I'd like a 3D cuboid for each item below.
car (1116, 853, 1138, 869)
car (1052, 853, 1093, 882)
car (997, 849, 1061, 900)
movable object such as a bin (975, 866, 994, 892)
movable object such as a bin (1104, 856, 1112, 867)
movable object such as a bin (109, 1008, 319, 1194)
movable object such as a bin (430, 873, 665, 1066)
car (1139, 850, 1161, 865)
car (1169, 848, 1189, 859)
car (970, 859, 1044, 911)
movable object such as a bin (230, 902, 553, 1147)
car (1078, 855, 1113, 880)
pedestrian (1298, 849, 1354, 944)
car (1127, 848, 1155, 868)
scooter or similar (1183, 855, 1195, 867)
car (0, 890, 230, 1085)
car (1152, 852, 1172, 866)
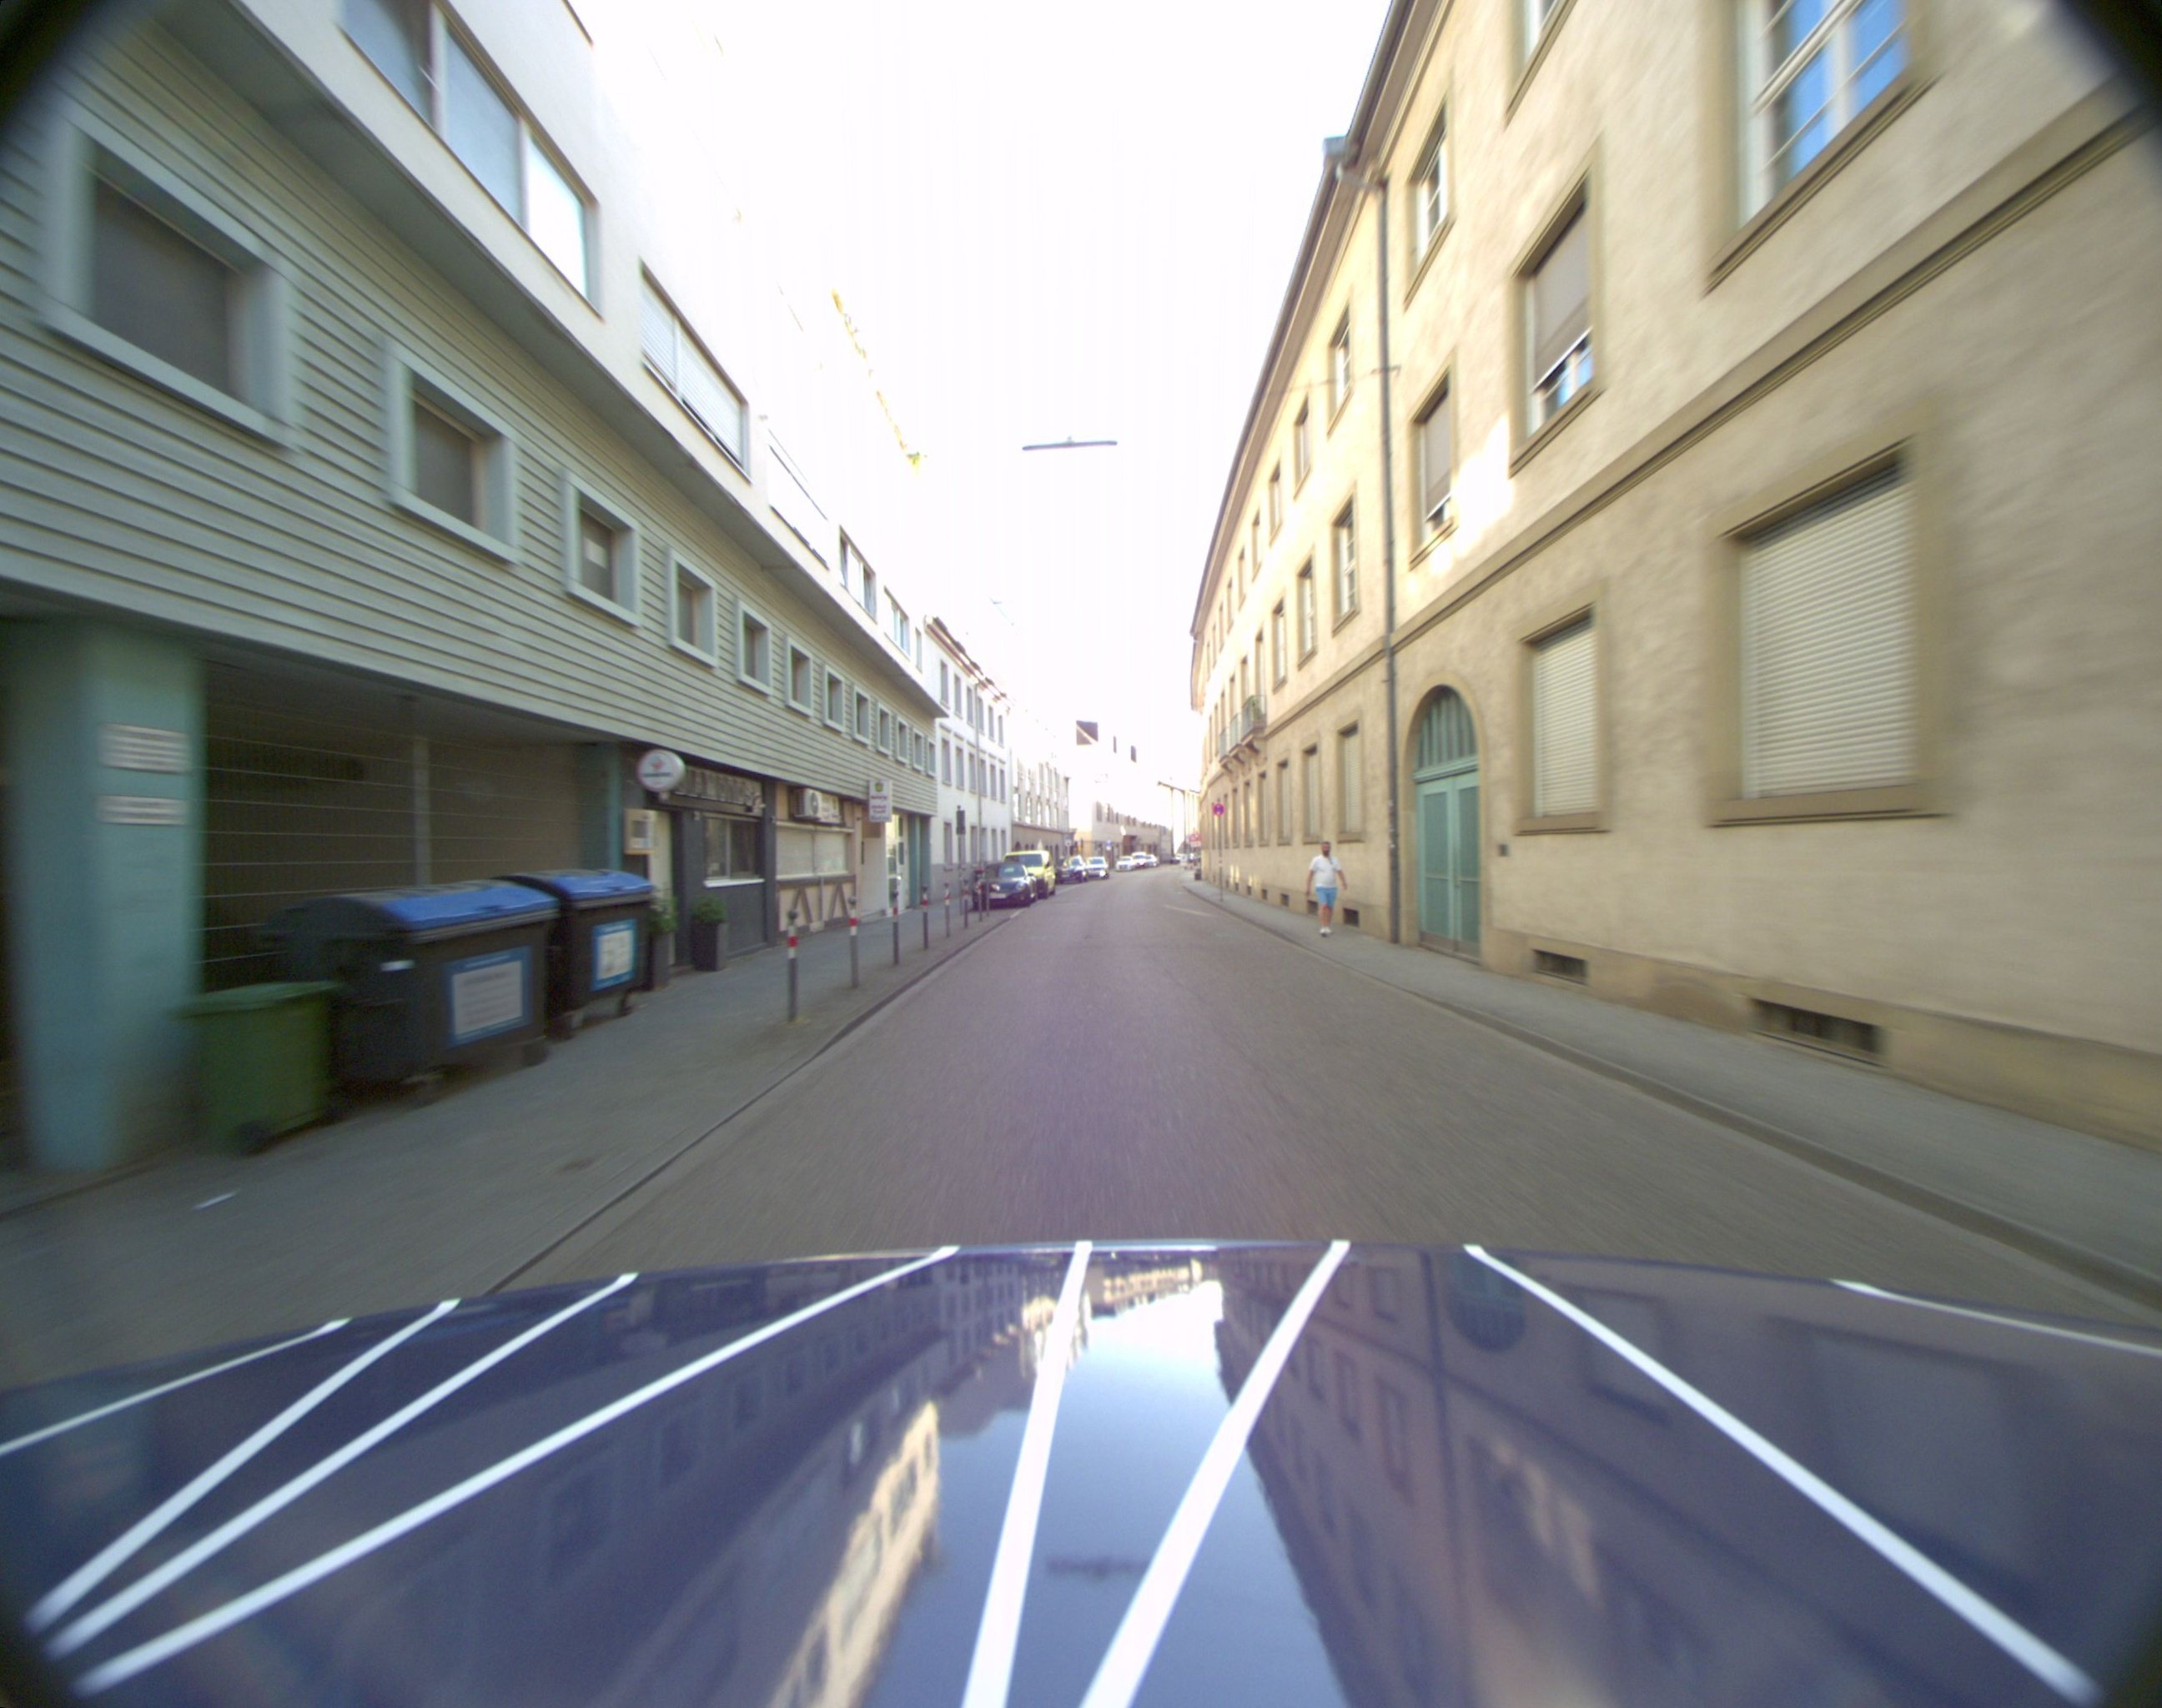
[{"bbox_3d":[4.747,0.660,77.476,1.734,1.539,4.003,-2,0,11],"label":"car"},{"bbox_3d":[-0.472,0.799,46.676,1.828,1.645,4.496,-2,0,8],"label":"car"},{"bbox_3d":[-2.030,0.768,30.929,1.887,1.871,4.846,-2,0,4],"label":"car"},{"bbox_3d":[-4.119,1.074,32.497,0.607,1.045,0.708,4,1,3],"label":"movable object such as a bin"},{"bbox_3d":[2.836,0.814,79.236,0.687,1.079,0.930,-2,0,12],"label":"movable object such as a bin"},{"bbox_3d":[-4.955,1.394,4.375,0.558,0.894,0.523,0,3,1],"label":"movable object such as a bin"},{"bbox_3d":[-4.757,0.964,6.947,0.983,1.472,1.551,0,3,1],"label":"movable object such as a bin"},{"bbox_3d":[8.095,0.413,89.383,1.774,1.574,3.861,-6,-1,16],"label":"car"},{"bbox_3d":[14.114,-0.030,108.972,1.963,1.400,4.202,-3,0,19],"label":"car"},{"bbox_3d":[-2.395,0.972,25.582,1.888,1.480,4.368,-2,0,1],"label":"car"},{"bbox_3d":[-4.674,1.091,5.313,0.983,1.377,1.320,0,3,1],"label":"movable object such as a bin"},{"bbox_3d":[1.067,0.924,52.574,1.828,1.550,3.989,-2,0,9],"label":"car"},{"bbox_3d":[4.470,0.750,13.895,0.694,1.660,0.875,-3,1,3],"label":"pedestrian"},{"bbox_3d":[6.676,0.397,83.649,1.946,1.850,5.200,-6,-1,16],"label":"car"},{"bbox_3d":[11.057,0.731,77.668,1.302,1.217,0.467,0,0,-40],"label":"scooter or similar"},{"bbox_3d":[-9.485,1.140,5.531,1.832,1.425,4.278,0,2,-3],"label":"car"},{"bbox_3d":[10.574,0.691,99.112,1.774,1.574,3.861,-6,-1,17],"label":"car"}]
